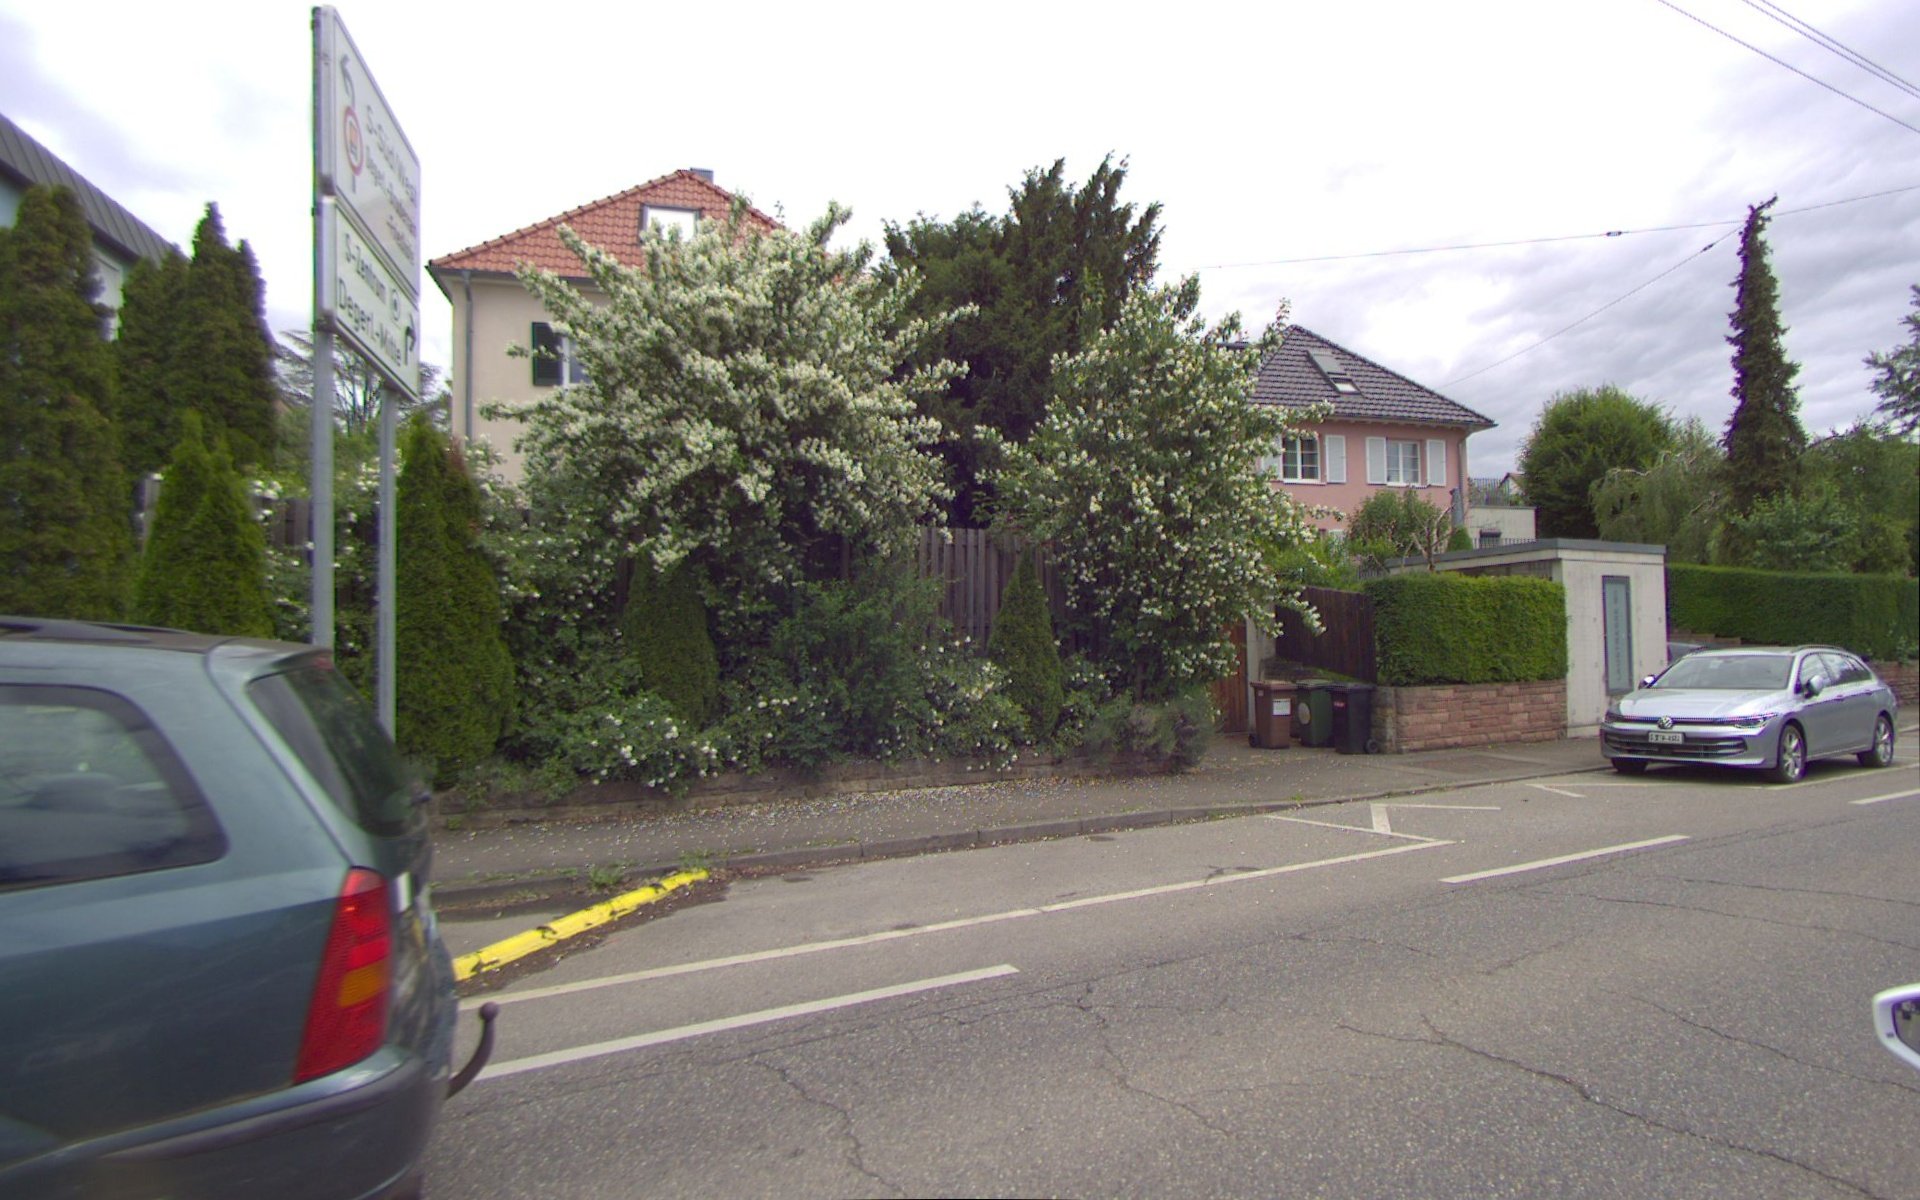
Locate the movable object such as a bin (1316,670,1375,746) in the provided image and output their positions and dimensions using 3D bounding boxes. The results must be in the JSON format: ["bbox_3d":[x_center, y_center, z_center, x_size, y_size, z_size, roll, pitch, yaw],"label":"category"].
[{"bbox_3d":[5.129,1.429,13.372,0.501,0.954,0.538,2,-2,-17],"label":"movable object such as a bin"}]

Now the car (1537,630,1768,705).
[{"bbox_3d":[14.312,1.355,20.992,1.822,1.409,3.584,0,-3,-21],"label":"car"}]

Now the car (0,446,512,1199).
[{"bbox_3d":[-3.194,0.559,1.686,4.390,1.574,1.728,1,-3,-27],"label":"car"}]

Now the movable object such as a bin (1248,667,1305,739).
[{"bbox_3d":[4.413,1.426,14.009,0.607,0.954,0.448,2,-2,-18],"label":"movable object such as a bin"}]

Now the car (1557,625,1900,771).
[{"bbox_3d":[9.343,1.103,12.130,4.364,1.474,1.801,1,-5,-32],"label":"car"}]

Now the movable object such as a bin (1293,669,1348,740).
[{"bbox_3d":[5.065,1.454,14.110,0.501,0.954,0.538,2,-2,-17],"label":"movable object such as a bin"}]
